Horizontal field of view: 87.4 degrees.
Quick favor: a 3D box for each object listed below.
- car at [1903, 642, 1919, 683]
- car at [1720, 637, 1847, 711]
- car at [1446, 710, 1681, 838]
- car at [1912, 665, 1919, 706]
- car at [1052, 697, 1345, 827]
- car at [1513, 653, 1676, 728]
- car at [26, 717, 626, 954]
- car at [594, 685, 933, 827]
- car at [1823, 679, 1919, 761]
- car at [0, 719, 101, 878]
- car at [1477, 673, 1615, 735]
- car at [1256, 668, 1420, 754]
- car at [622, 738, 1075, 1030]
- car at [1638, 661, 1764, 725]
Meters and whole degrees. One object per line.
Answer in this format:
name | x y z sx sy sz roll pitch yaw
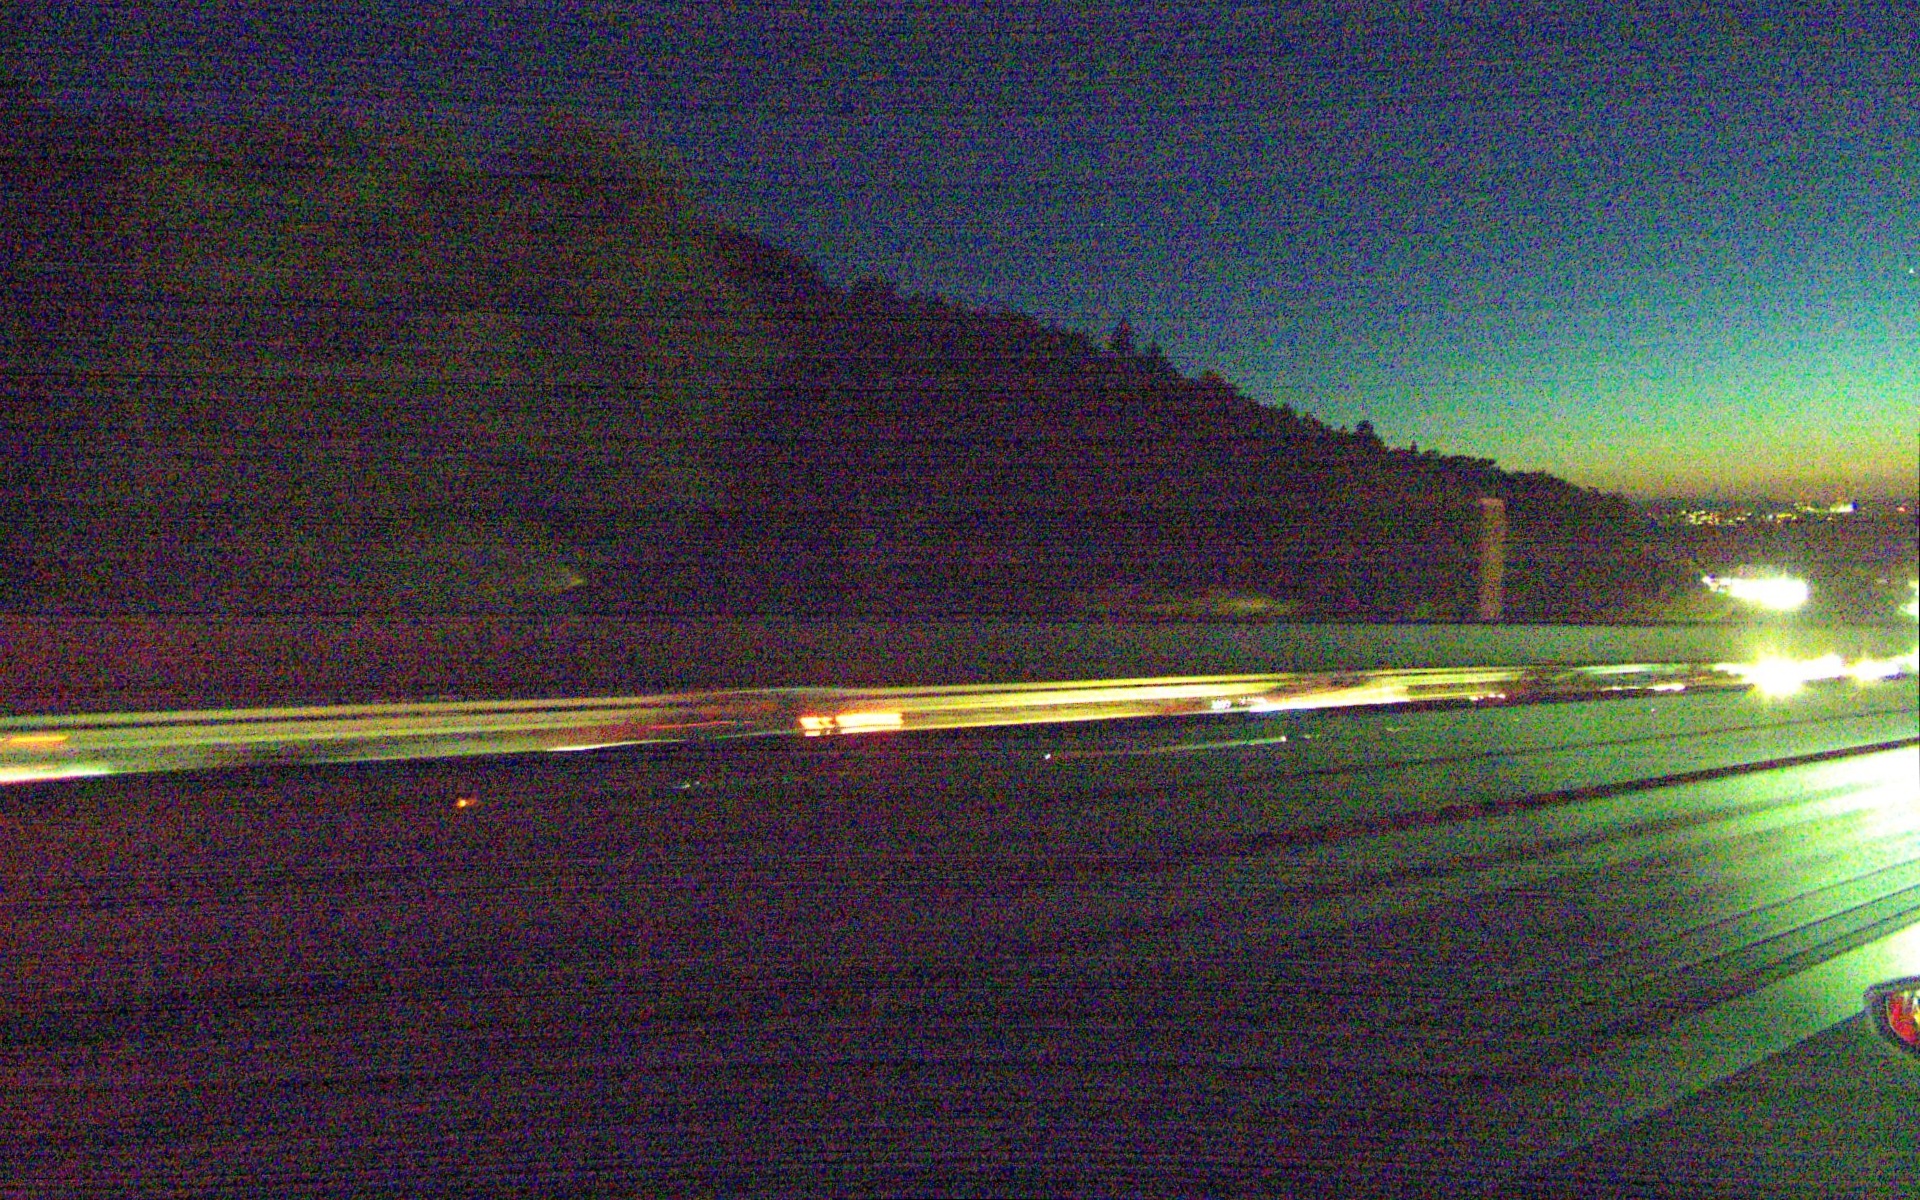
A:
car | 52.462 3.303 53.629 5.061 2.081 2.125 1 -2 -35
car | 30.601 2.655 37.295 5.633 2.474 2.016 1 0 -33
car | 9.938 2.718 16.446 4.237 1.488 1.804 1 -1 -36
car | 41.589 3.509 41.739 5.064 1.644 2.124 1 -2 -37
car | 3.883 2.448 16.011 4.662 1.473 1.891 1 0 -34
car | 14.368 1.972 22.704 3.962 1.477 1.810 1 -3 -37
car | -5.963 2.108 10.051 4.662 1.473 1.891 1 0 -34
car | -3.038 2.319 15.956 4.869 1.656 2.062 1 0 -34
car | 21.716 2.697 23.188 4.237 1.488 1.804 0 -1 -36
car | -12.204 2.193 10.497 4.662 1.473 1.891 1 0 -34
car | 16.250 2.823 27.808 3.960 1.477 1.811 1 -3 -35
car | 9.146 2.590 24.215 3.958 1.739 1.742 1 0 -34
car | -0.987 2.437 9.559 3.956 1.882 1.724 1 -3 -32
car | 23.129 2.833 31.336 3.958 1.739 1.939 1 -2 -34
